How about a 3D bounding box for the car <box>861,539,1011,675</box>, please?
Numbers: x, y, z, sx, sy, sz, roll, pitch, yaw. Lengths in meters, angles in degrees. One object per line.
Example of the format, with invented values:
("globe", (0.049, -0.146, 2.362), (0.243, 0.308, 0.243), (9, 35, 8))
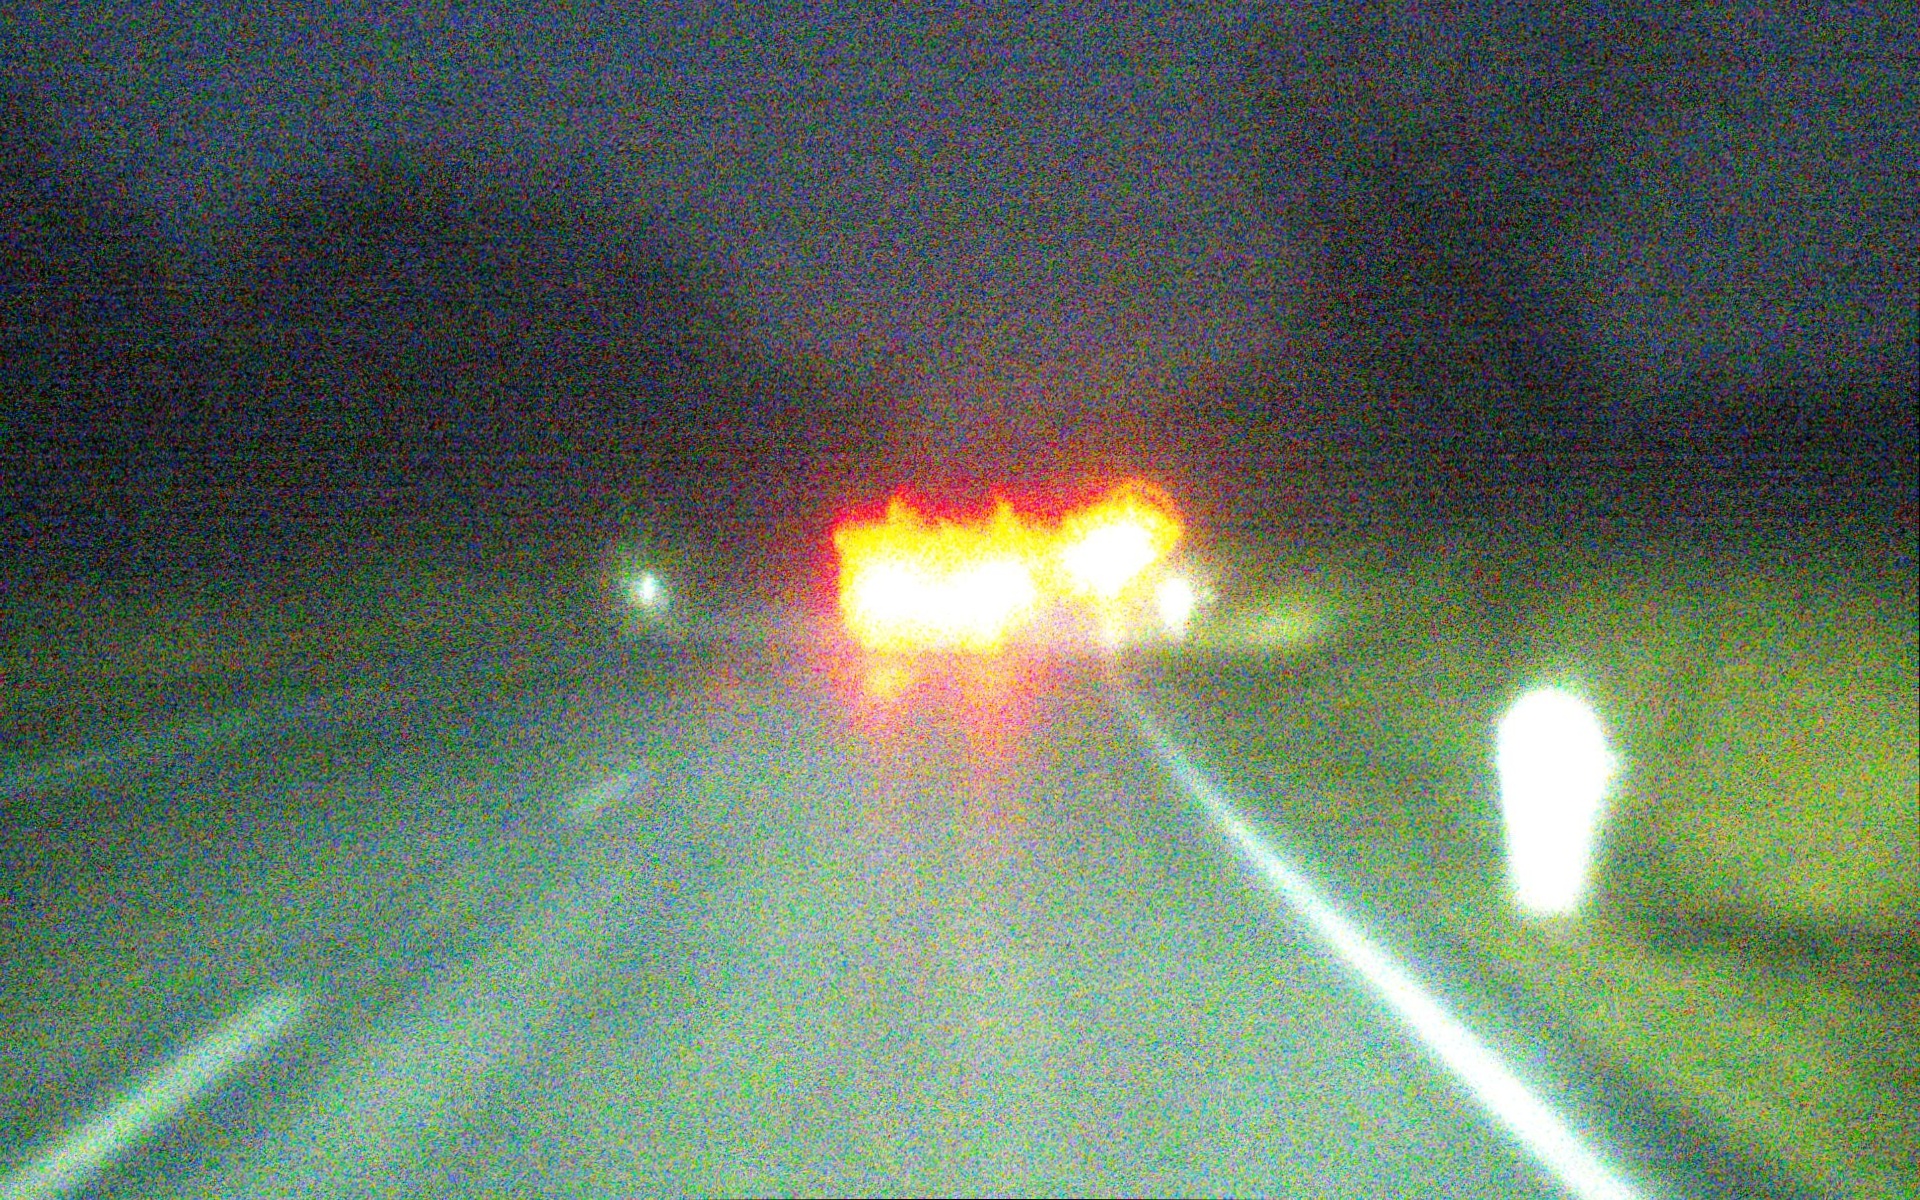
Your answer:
("car", (-0.277, 0.056, 46.046), (1.842, 1.734, 4.000), (0, 1, 2))
